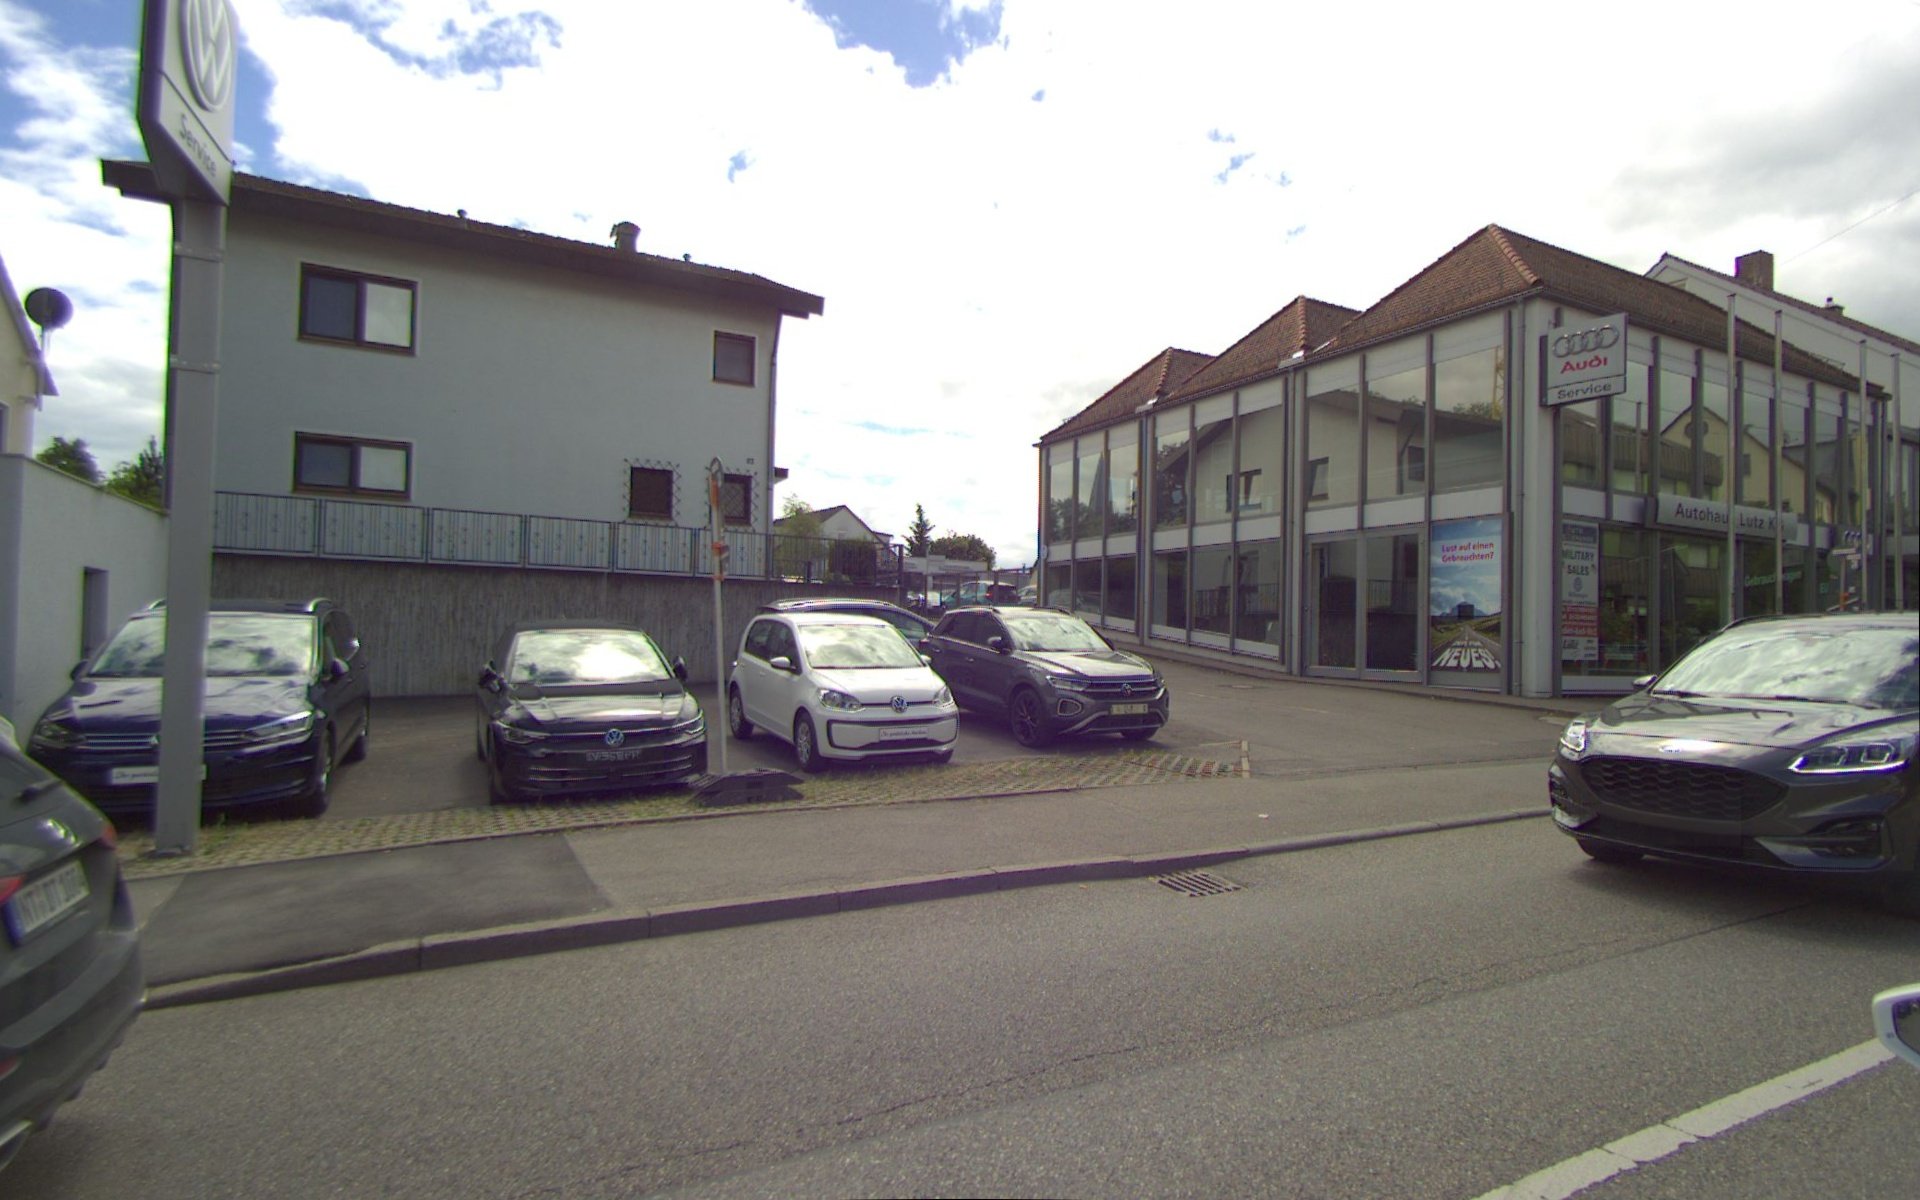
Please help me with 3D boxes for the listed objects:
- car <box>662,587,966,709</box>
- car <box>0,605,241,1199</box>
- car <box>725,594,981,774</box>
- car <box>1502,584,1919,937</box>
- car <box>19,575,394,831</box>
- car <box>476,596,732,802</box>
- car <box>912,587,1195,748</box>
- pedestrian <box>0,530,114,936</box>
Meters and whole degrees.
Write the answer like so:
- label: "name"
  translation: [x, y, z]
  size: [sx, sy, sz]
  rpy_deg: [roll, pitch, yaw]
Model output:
- label: "car"
  translation: [-2.212, 0.649, 15.401]
  size: [4.273, 1.606, 1.798]
  rpy_deg: [0, 2, -28]
- label: "car"
  translation: [-4.106, 0.708, 1.676]
  size: [4.466, 1.448, 1.734]
  rpy_deg: [2, -2, -28]
- label: "car"
  translation: [-1.369, 0.785, 11.290]
  size: [1.516, 1.581, 3.722]
  rpy_deg: [1, 1, -29]
- label: "car"
  translation: [5.710, 0.806, 6.548]
  size: [4.267, 1.651, 1.824]
  rpy_deg: [1, -1, -29]
- label: "car"
  translation: [-6.222, 0.672, 8.874]
  size: [1.879, 1.663, 4.274]
  rpy_deg: [1, 0, -27]
- label: "car"
  translation: [-3.542, 0.785, 9.572]
  size: [1.708, 1.538, 3.723]
  rpy_deg: [1, -1, -29]
- label: "car"
  translation: [1.007, 0.713, 12.869]
  size: [1.634, 1.652, 3.994]
  rpy_deg: [1, 1, -29]
- label: "pedestrian"
  translation: [-4.512, 0.568, 4.551]
  size: [0.858, 1.760, 0.680]
  rpy_deg: [2, 0, -28]
